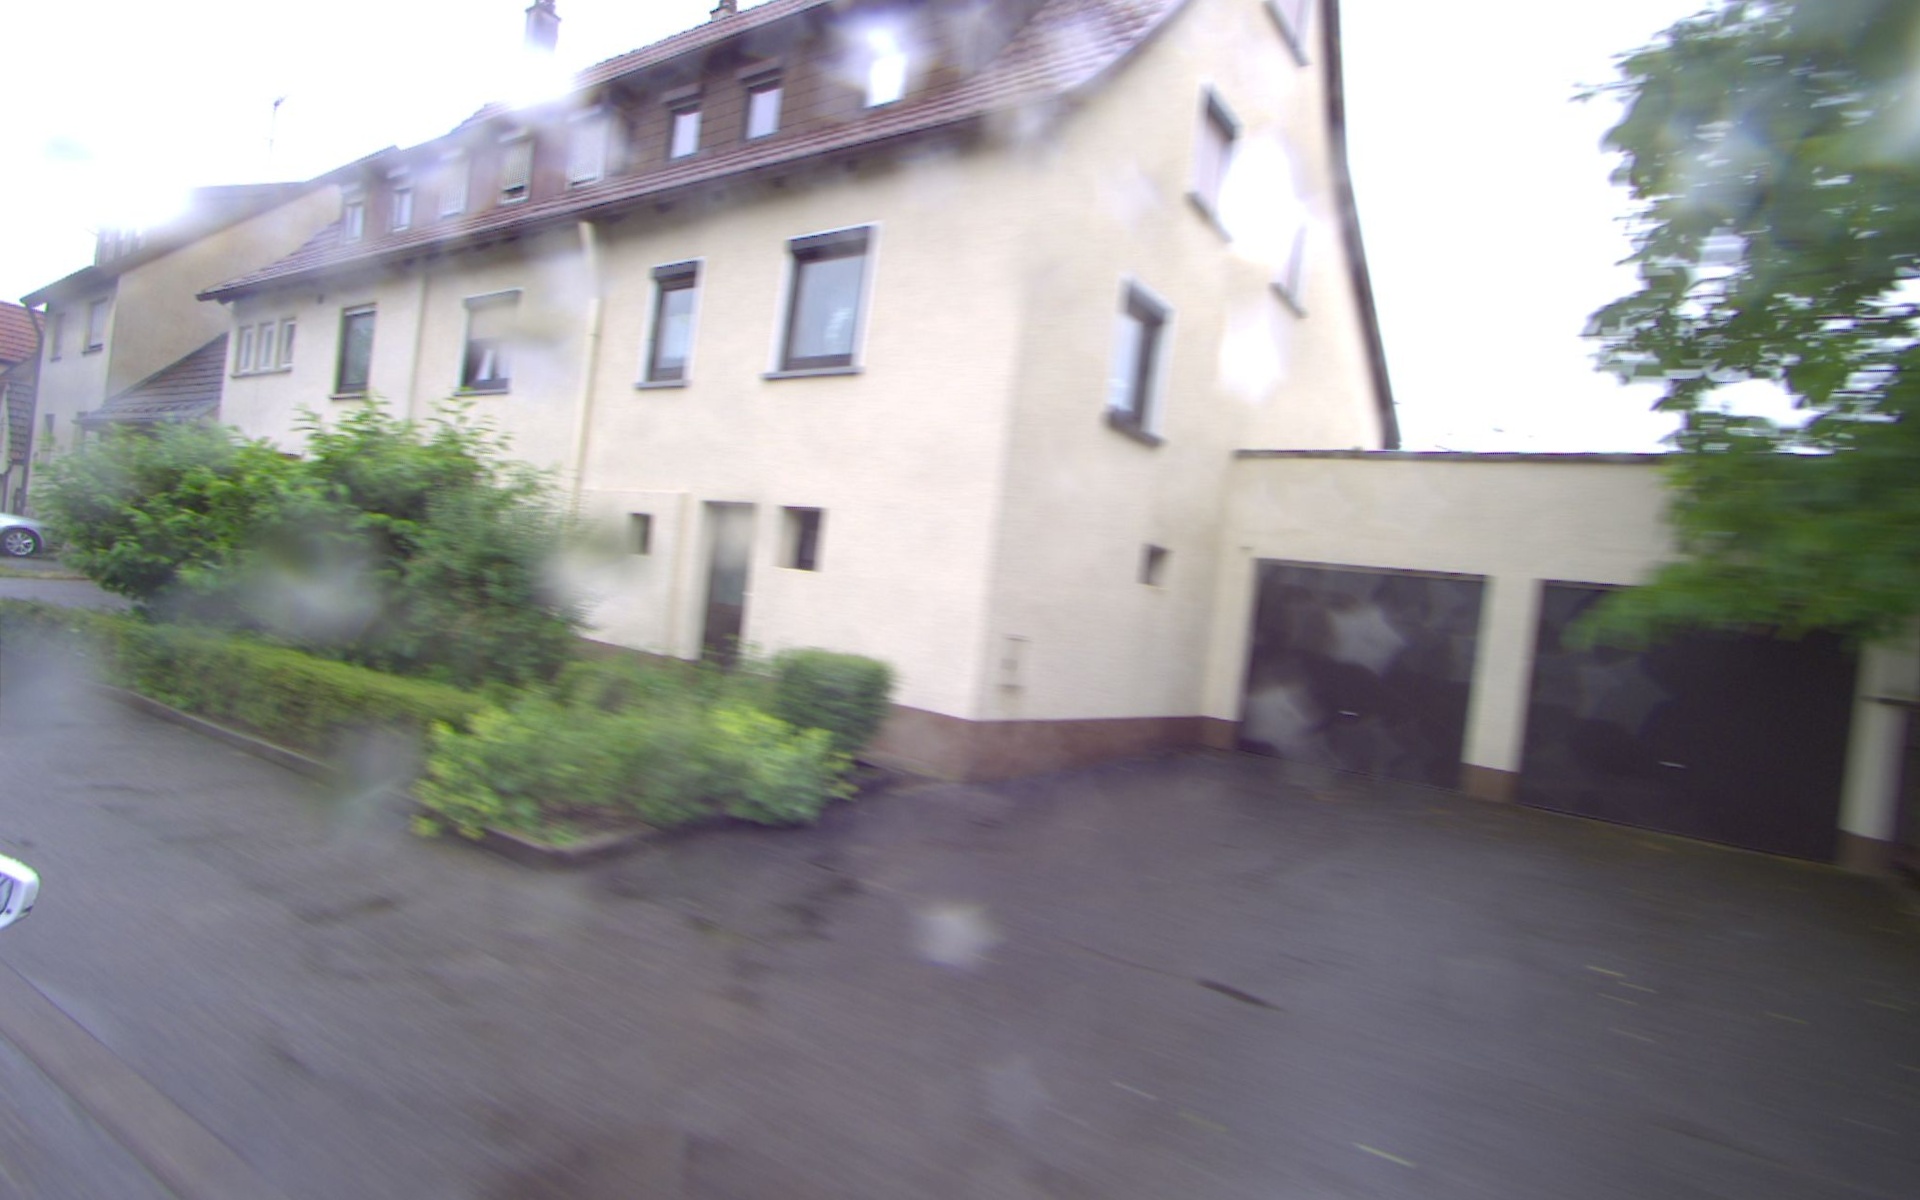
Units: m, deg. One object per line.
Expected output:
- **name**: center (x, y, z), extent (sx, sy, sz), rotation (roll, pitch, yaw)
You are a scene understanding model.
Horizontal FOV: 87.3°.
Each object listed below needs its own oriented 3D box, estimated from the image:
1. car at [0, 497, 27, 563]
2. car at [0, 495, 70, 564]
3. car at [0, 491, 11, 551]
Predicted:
- **car**: center (-25.306, -1.958, 24.505), extent (1.694, 1.545, 3.423), rotation (1, -7, 37)
- **car**: center (-23.004, -1.800, 22.301), extent (1.794, 1.432, 4.610), rotation (6, -1, 38)
- **car**: center (-27.629, -2.312, 26.129), extent (1.720, 1.602, 3.990), rotation (5, 0, 32)
